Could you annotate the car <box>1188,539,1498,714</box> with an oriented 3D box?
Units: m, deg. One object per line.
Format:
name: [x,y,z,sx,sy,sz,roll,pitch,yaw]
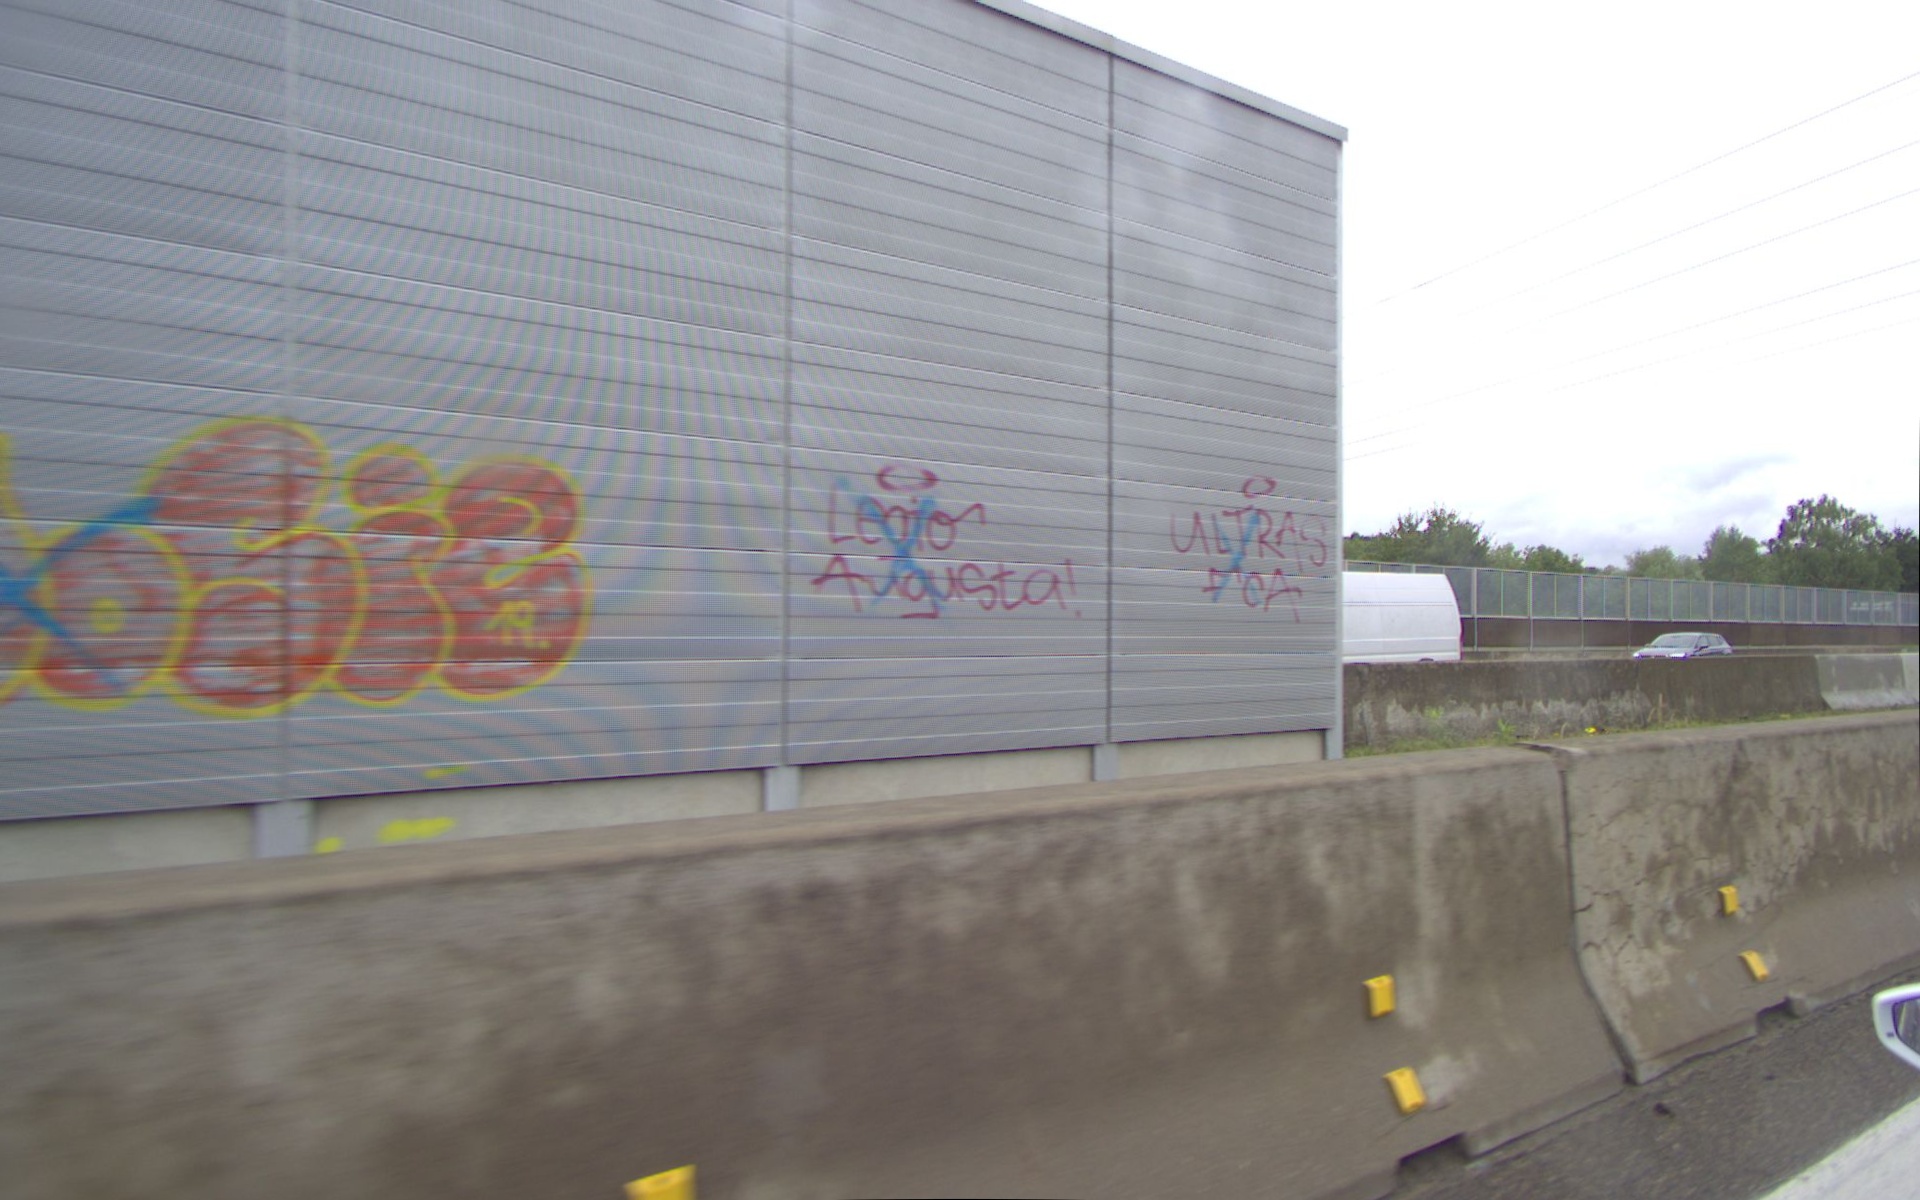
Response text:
car: [8.226,0.687,21.180,7.001,3.024,2.206,6,-2,-32]

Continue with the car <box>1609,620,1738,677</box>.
car: [25.430,1.736,35.751,4.590,1.646,2.108,6,-2,-32]
